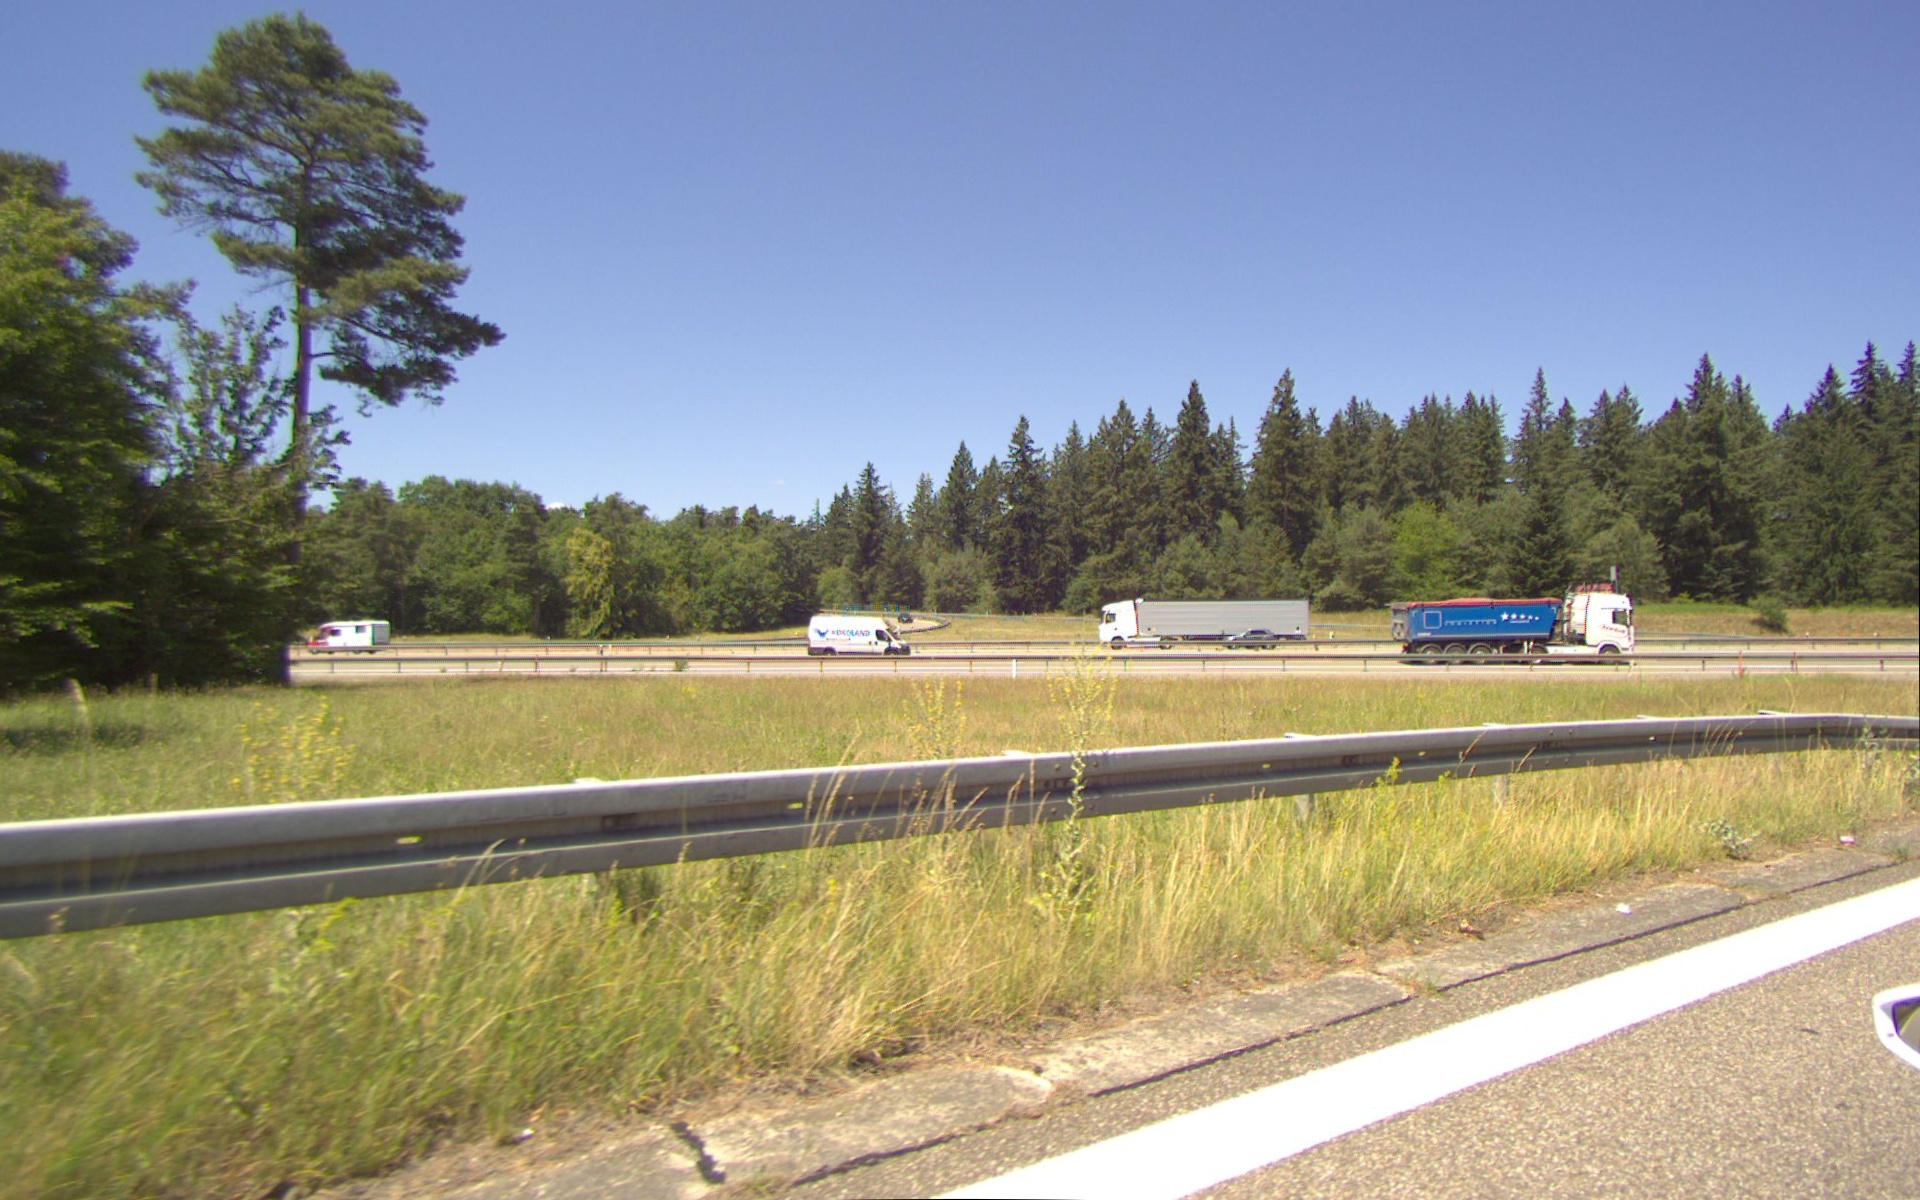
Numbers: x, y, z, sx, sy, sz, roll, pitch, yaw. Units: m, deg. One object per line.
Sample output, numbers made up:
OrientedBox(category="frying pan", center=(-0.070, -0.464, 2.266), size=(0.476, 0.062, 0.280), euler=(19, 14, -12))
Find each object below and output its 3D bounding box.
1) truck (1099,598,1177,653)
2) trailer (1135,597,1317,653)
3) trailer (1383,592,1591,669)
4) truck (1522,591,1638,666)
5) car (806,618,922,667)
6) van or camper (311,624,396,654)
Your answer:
OrientedBox(category="truck", center=(14.543, 2.102, 82.582), size=(6.144, 4.450, 2.951), euler=(0, -2, 7))
OrientedBox(category="trailer", center=(21.419, 2.055, 81.759), size=(14.007, 4.445, 2.936), euler=(0, -2, 7))
OrientedBox(category="trailer", center=(28.662, 1.643, 54.977), size=(9.686, 3.858, 2.781), euler=(-1, 0, 5))
OrientedBox(category="truck", center=(33.621, 1.510, 54.581), size=(4.528, 3.858, 2.767), euler=(-2, 0, 5))
OrientedBox(category="car", center=(-5.965, 2.654, 63.109), size=(6.911, 2.870, 2.247), euler=(1, 0, 6))
OrientedBox(category="van or camper", center=(-50.827, 3.278, 84.248), size=(5.711, 2.407, 2.251), euler=(0, -2, 2))
